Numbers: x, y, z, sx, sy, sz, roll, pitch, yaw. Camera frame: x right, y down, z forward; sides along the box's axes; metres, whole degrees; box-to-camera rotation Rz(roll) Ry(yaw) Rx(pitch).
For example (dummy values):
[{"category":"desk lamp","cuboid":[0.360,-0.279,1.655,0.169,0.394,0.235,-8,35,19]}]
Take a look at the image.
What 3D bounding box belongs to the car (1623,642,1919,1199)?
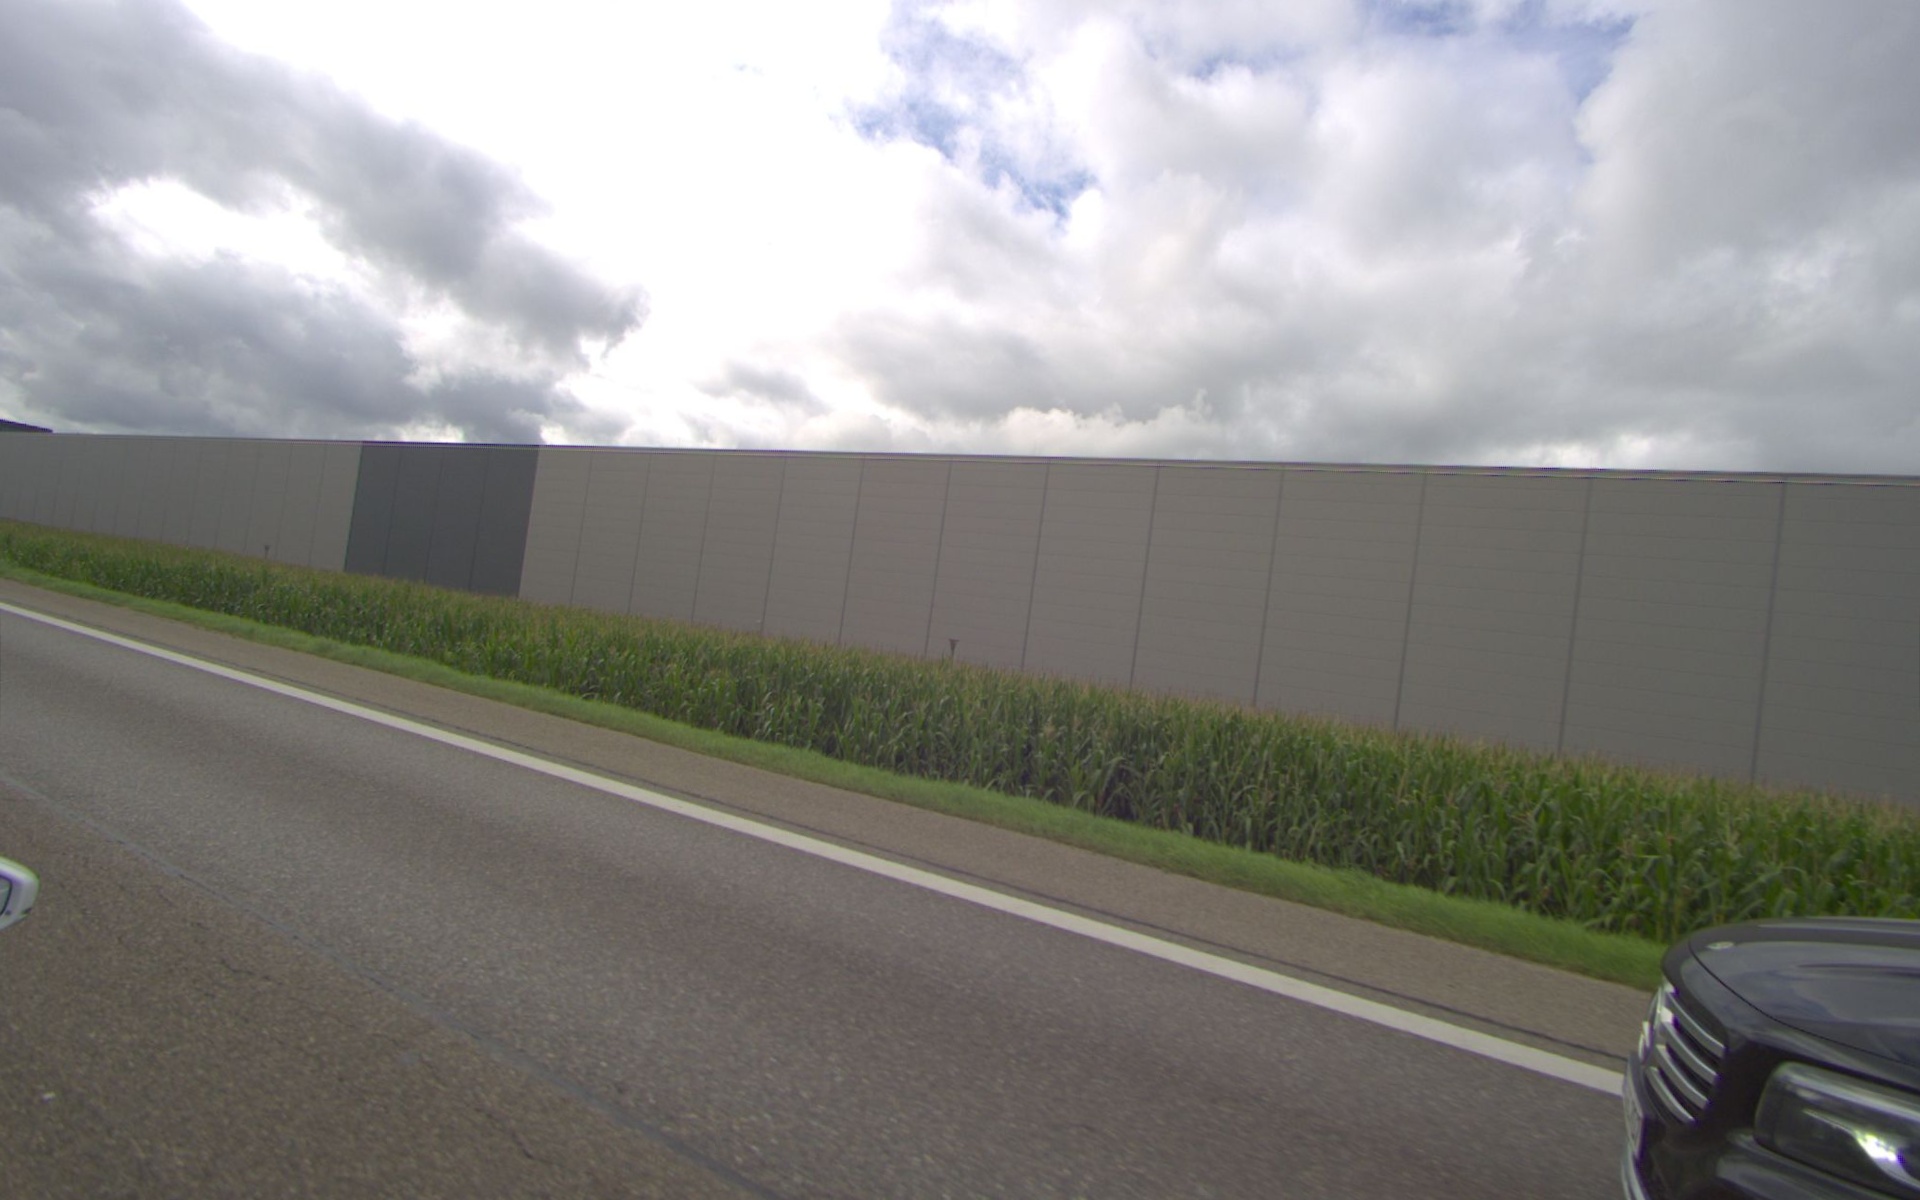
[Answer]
[{"category":"car","cuboid":[3.619,1.159,1.424,4.289,1.628,1.836,6,-1,33]}]
